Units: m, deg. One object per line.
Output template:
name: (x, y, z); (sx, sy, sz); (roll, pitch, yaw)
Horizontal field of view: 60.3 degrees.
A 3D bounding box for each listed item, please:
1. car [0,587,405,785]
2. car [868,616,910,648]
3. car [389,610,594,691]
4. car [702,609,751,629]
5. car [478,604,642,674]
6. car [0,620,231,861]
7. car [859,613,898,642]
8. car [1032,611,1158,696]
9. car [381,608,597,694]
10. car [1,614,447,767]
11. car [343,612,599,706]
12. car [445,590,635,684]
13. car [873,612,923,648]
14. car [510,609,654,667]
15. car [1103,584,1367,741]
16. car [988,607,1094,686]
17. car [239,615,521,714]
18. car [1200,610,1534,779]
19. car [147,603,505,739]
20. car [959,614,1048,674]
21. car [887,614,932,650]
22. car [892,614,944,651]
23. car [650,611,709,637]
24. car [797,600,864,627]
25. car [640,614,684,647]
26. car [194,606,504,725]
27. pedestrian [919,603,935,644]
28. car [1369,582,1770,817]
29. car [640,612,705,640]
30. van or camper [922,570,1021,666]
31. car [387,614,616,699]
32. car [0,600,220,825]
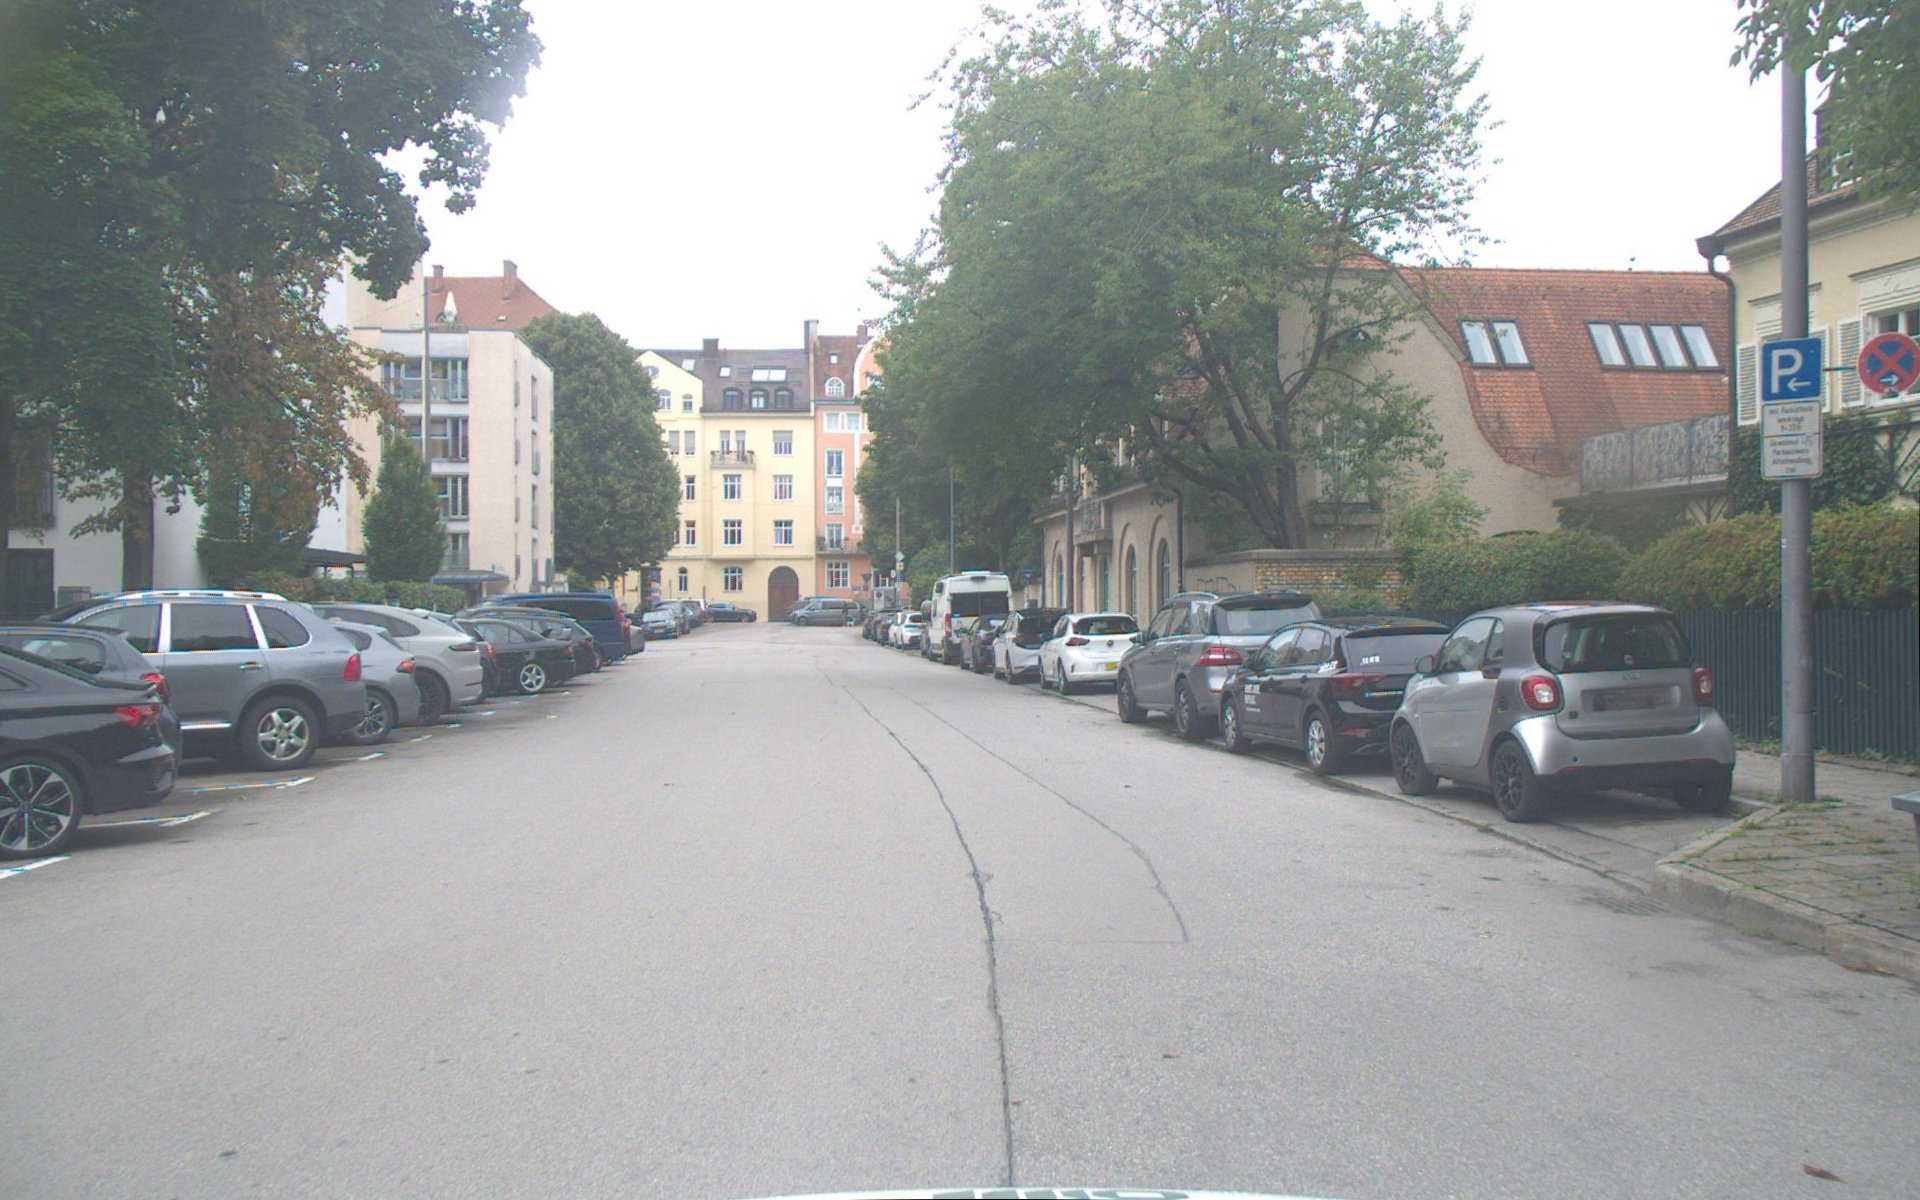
car: (-7.939, 0.764, 16.110); (4.369, 1.729, 2.107); (0, -1, -39)
car: (-3.515, 1.548, 81.638); (1.639, 1.367, 3.830); (-2, 1, -9)
car: (-10.677, 1.117, 37.811); (4.170, 1.637, 1.715); (-2, 0, -36)
car: (-19.422, 1.609, 137.713); (3.909, 1.614, 1.701); (0, -1, -5)
car: (-11.038, 1.054, 45.748); (4.075, 1.738, 1.714); (-2, 0, -37)
car: (-7.171, 0.900, 10.486); (4.366, 1.464, 1.940); (0, -1, -37)
car: (-4.285, 1.418, 86.496); (1.639, 1.367, 3.830); (-2, 1, -9)
car: (2.476, 0.978, 31.233); (1.653, 1.466, 3.995); (-1, -1, -6)
car: (-10.129, 1.071, 35.626); (4.163, 1.637, 1.718); (-2, 0, -32)
car: (-8.403, 0.960, 19.057); (4.367, 1.517, 1.990); (0, -1, -38)
car: (-8.936, 1.036, 30.378); (4.173, 1.487, 1.714); (-2, 0, -37)
car: (-10.303, 0.883, 40.663); (4.170, 2.102, 1.715); (-2, 0, -36)
car: (-2.873, 1.355, 76.242); (1.770, 1.491, 3.829); (-2, 1, -10)
car: (-11.840, 1.186, 51.906); (4.078, 1.637, 1.713); (-2, 0, -39)
car: (3.432, 0.742, 21.703); (1.957, 1.741, 4.874); (-2, 0, -9)
car: (1.718, 0.980, 36.313); (1.674, 1.564, 4.234); (-2, 0, -6)
car: (-9.585, 1.021, 27.400); (4.160, 1.487, 1.775); (0, -1, -31)
car: (4.015, 0.868, 17.101); (1.842, 1.452, 4.213); (-2, 0, -9)
car: (-8.591, 0.902, 22.429); (4.347, 1.649, 2.067); (-1, -1, -28)
car: (1.048, 1.071, 42.059); (1.674, 1.393, 4.435); (-2, 0, -6)
car: (-2.227, 1.376, 72.004); (1.674, 1.491, 3.833); (-2, 0, -5)
car: (-1.740, 1.297, 67.093); (1.675, 1.432, 4.123); (-2, 0, -7)
car: (-19.845, 1.681, 117.001); (3.912, 1.534, 1.837); (-3, 0, -7)
car: (-9.118, 0.965, 116.294); (4.615, 1.914, 1.837); (0, -1, -8)
car: (-14.960, 1.505, 83.279); (1.799, 1.534, 3.995); (-3, 0, -6)
car: (-9.237, 0.941, 25.062); (4.160, 1.627, 1.867); (0, -1, -31)
pedestrian: (-1.630, 1.155, 82.215); (0.758, 2.049, 0.562); (0, -1, -7)
car: (4.636, 0.719, 13.013); (1.707, 1.563, 2.940); (-2, -1, -9)
car: (-18.244, 1.626, 105.161); (3.912, 1.534, 1.837); (-3, 0, -7)
van or camper: (0.266, 0.513, 48.877); (2.150, 2.595, 5.719); (-2, 0, -7)
car: (-9.181, 1.097, 33.144); (4.156, 1.487, 1.721); (-2, 0, -28)
car: (-8.204, 0.856, 12.604); (4.369, 1.658, 1.938); (0, -1, -39)
